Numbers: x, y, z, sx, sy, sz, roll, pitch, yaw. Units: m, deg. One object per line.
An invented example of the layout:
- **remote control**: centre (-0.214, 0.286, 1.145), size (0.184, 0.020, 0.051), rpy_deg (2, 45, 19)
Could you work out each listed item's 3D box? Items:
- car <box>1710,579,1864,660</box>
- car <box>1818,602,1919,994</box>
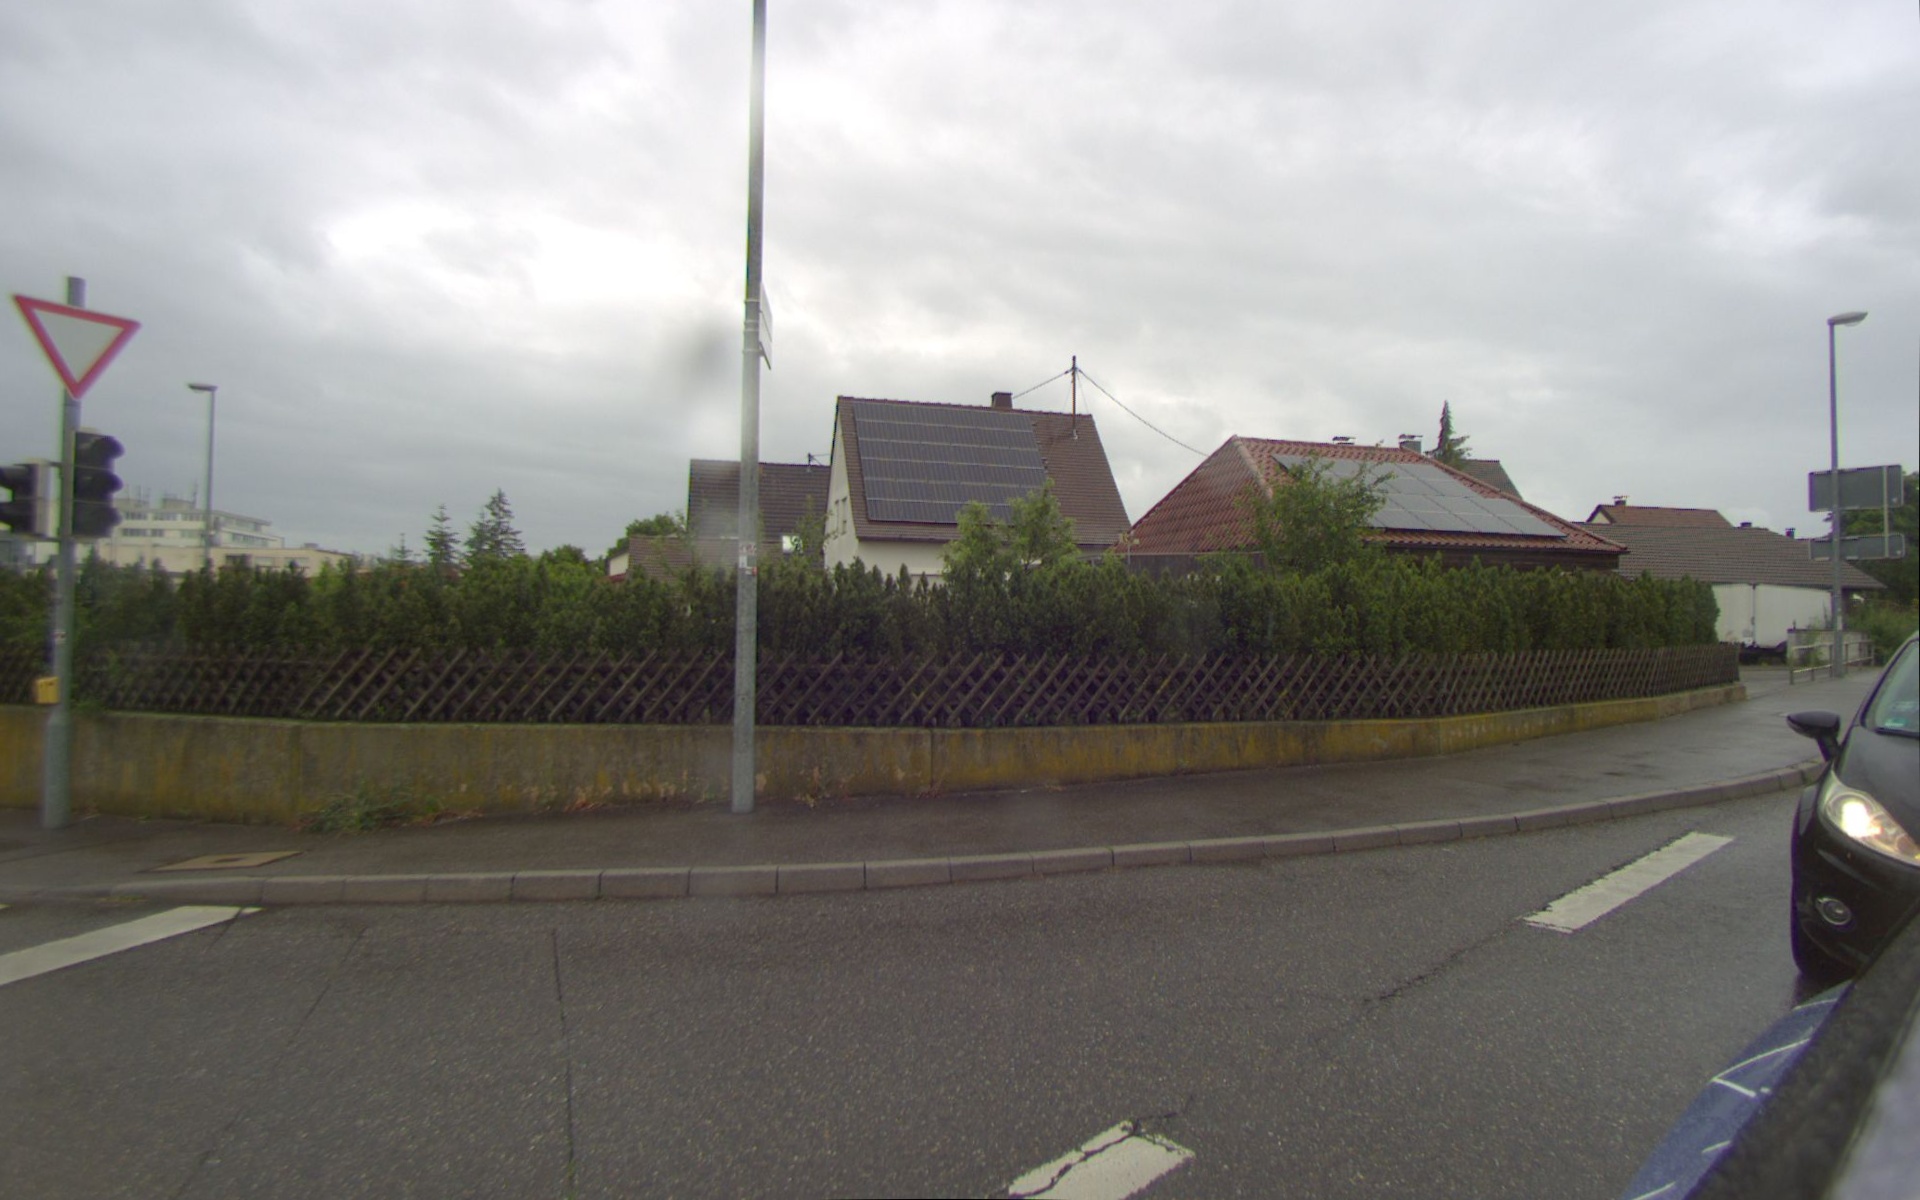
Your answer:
- **car**: centre (25.467, 0.583, 31.187), size (3.916, 2.380, 1.657), rpy_deg (0, -1, -14)
- **car**: centre (5.399, 0.755, 4.752), size (3.867, 1.436, 1.663), rpy_deg (-1, 0, -43)
